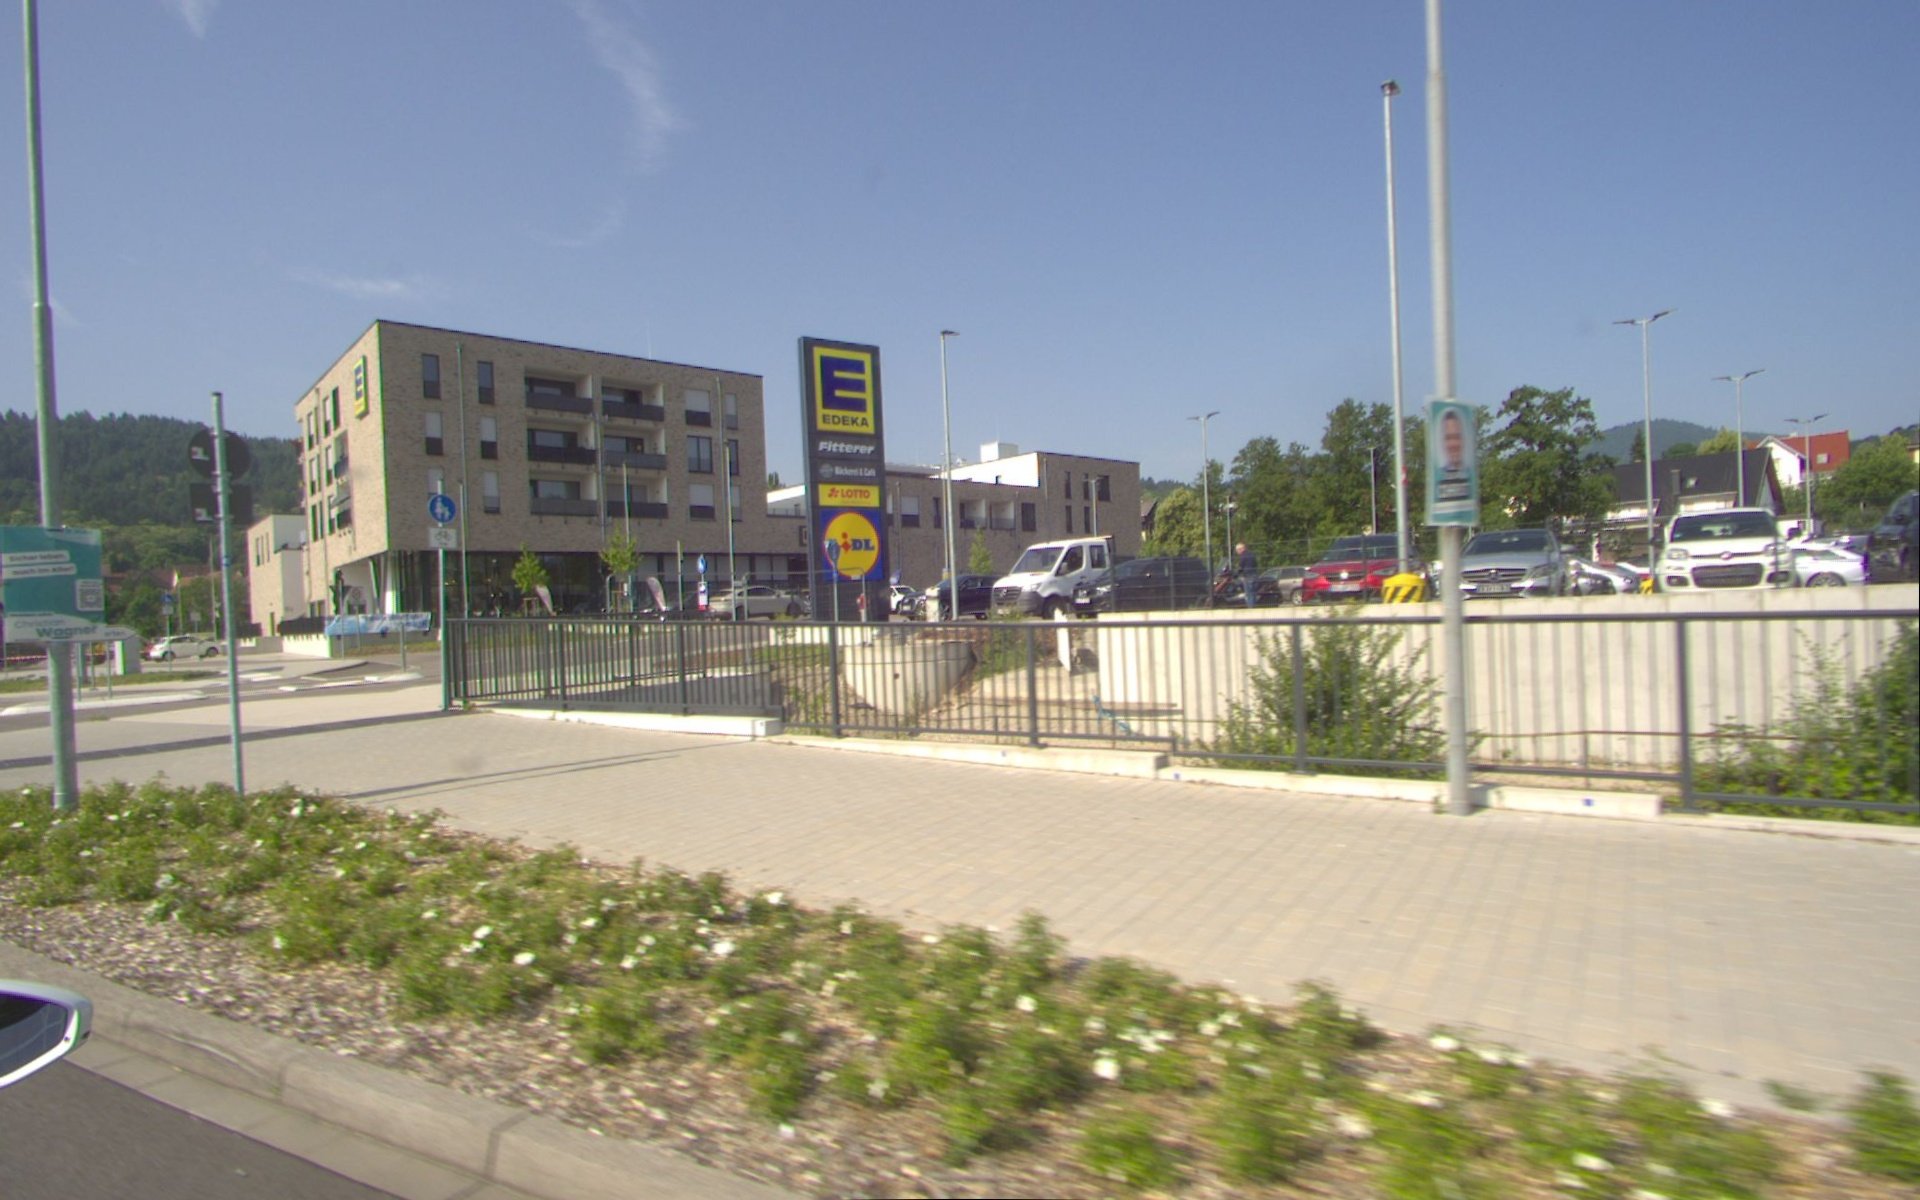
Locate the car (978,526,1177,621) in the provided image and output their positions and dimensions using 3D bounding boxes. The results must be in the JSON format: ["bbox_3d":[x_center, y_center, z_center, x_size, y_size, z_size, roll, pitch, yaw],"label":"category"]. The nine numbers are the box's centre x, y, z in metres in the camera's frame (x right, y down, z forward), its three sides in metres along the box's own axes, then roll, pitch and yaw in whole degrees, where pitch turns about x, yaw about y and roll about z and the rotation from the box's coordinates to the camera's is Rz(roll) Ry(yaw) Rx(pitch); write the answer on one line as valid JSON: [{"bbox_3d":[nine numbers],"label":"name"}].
[{"bbox_3d":[3.479,-0.634,28.803,6.020,2.414,2.045,1,-2,-38],"label":"car"}]

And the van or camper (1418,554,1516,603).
[{"bbox_3d":[32.866,-1.341,64.997,2.270,2.884,5.242,1,-2,-40],"label":"van or camper"}]

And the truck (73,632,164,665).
[{"bbox_3d":[-68.925,3.926,82.143,5.255,2.295,2.207,-4,1,-31],"label":"truck"}]

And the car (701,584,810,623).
[{"bbox_3d":[-9.674,0.115,47.706,4.767,1.577,1.841,-4,4,-41],"label":"car"}]

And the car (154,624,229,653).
[{"bbox_3d":[-48.615,2.416,63.400,1.573,1.514,3.396,-4,0,32],"label":"car"}]

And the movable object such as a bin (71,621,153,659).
[{"bbox_3d":[-67.110,3.146,79.337,4.561,2.603,1.915,-4,1,-31],"label":"movable object such as a bin"}]

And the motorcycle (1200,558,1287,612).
[{"bbox_3d":[6.451,-0.332,22.792,1.868,1.207,0.590,0,0,-14],"label":"motorcycle"}]

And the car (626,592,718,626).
[{"bbox_3d":[-15.593,0.440,54.431,4.413,1.577,1.839,-5,4,-44],"label":"car"}]

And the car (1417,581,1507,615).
[{"bbox_3d":[25.799,-0.063,51.556,1.744,1.594,3.756,1,-2,-40],"label":"car"}]

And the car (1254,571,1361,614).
[{"bbox_3d":[14.083,-0.267,40.729,1.744,1.594,3.756,1,-2,-40],"label":"car"}]

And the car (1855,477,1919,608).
[{"bbox_3d":[13.870,-0.753,13.742,1.680,1.594,3.980,-1,-2,32],"label":"car"}]

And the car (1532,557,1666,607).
[{"bbox_3d":[23.030,-0.596,36.188,1.744,1.594,3.756,1,-2,-40],"label":"car"}]

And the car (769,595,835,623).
[{"bbox_3d":[-9.286,0.550,58.639,1.626,1.411,4.190,-5,1,-44],"label":"car"}]

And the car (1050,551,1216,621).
[{"bbox_3d":[4.600,-0.297,26.312,4.424,1.622,1.820,1,-2,-37],"label":"car"}]

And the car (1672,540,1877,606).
[{"bbox_3d":[21.153,-0.634,26.114,1.783,1.476,3.962,1,-2,-43],"label":"car"}]

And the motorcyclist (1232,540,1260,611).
[{"bbox_3d":[6.436,-0.534,22.557,0.571,1.562,0.514,0,-1,12],"label":"motorcyclist"}]

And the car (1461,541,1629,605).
[{"bbox_3d":[17.399,-0.739,29.891,1.980,1.638,3.963,1,-2,-43],"label":"car"}]

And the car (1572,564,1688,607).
[{"bbox_3d":[28.319,-0.570,42.411,1.744,1.594,3.756,1,-2,-40],"label":"car"}]

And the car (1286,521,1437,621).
[{"bbox_3d":[7.569,-0.436,18.669,1.755,1.594,3.999,-1,-2,35],"label":"car"}]

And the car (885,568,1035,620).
[{"bbox_3d":[0.037,-0.144,33.202,4.800,1.550,1.910,1,-2,-36],"label":"car"}]

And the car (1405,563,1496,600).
[{"bbox_3d":[29.911,-1.063,61.173,1.978,2.001,4.608,1,-2,-40],"label":"car"}]

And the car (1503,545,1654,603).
[{"bbox_3d":[19.589,-0.762,31.827,1.648,1.594,3.756,1,-2,-40],"label":"car"}]

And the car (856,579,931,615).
[{"bbox_3d":[-3.909,-0.160,58.122,1.979,1.904,4.538,-1,-1,-42],"label":"car"}]

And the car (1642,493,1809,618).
[{"bbox_3d":[11.713,-0.559,15.557,1.680,1.594,3.980,-1,-2,32],"label":"car"}]

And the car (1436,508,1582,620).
[{"bbox_3d":[9.453,-0.498,17.085,1.755,1.594,3.999,-1,-2,35],"label":"car"}]

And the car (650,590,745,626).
[{"bbox_3d":[-13.543,0.384,51.827,4.413,1.577,1.839,-5,4,-44],"label":"car"}]

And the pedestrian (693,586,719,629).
[{"bbox_3d":[-10.584,0.330,41.709,0.863,1.763,0.758,0,-1,4],"label":"pedestrian"}]
